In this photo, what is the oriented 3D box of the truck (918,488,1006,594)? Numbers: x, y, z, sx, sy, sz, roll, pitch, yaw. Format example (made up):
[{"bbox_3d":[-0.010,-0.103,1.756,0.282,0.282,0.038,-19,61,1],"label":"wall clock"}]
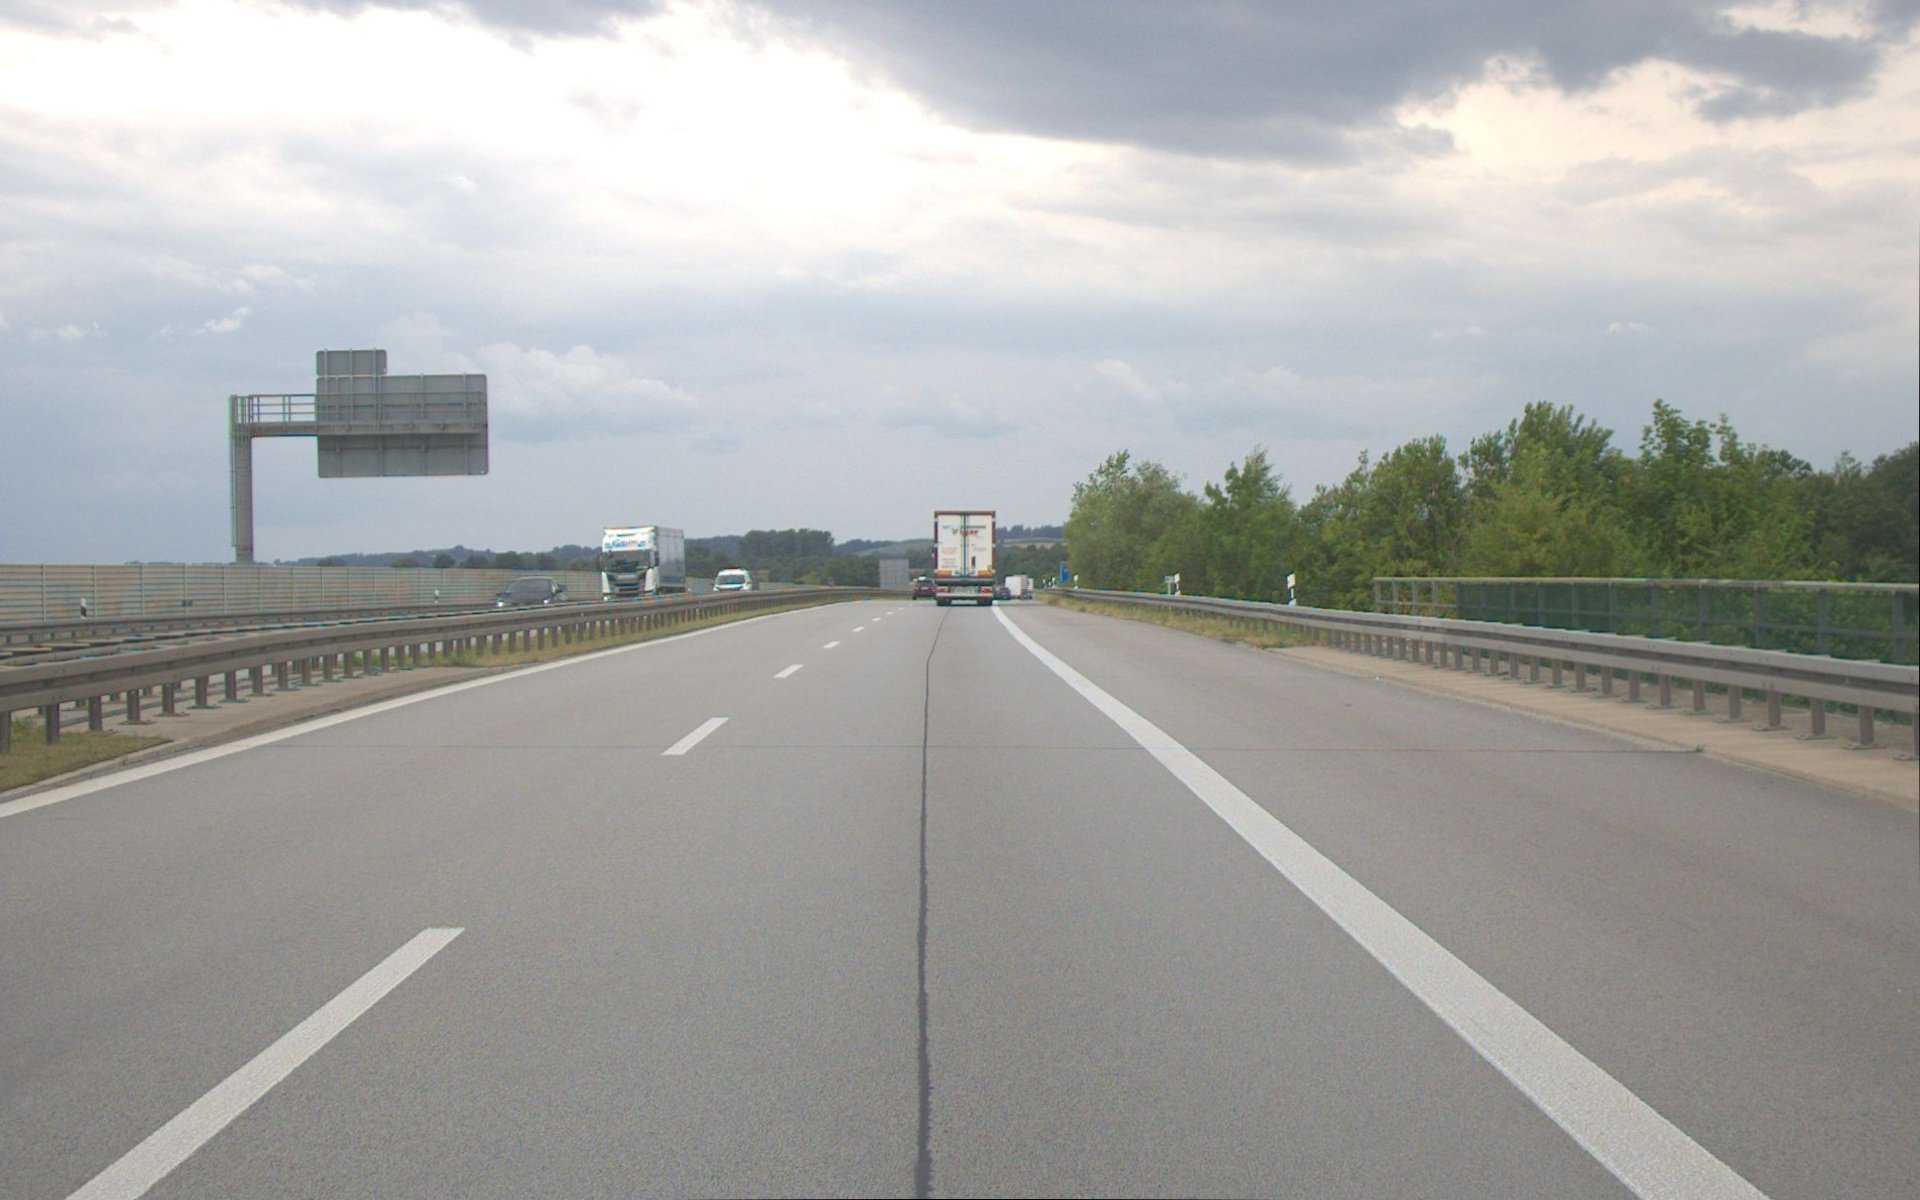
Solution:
[{"bbox_3d":[0.093,-2.506,153.166,3.672,4.397,16.341,-1,0,0],"label":"truck"}]

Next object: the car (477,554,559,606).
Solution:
[{"bbox_3d":[-13.485,-0.627,105.153,1.796,1.369,4.683,-6,1,0],"label":"car"}]

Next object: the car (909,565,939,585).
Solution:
[{"bbox_3d":[-2.651,-1.848,252.862,1.993,1.415,4.001,1,1,-3],"label":"car"}]

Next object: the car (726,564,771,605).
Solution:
[{"bbox_3d":[-10.243,-0.737,166.522,1.814,1.840,4.181,4,0,0],"label":"car"}]

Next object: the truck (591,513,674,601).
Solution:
[{"bbox_3d":[-15.498,-2.026,162.976,3.109,4.000,7.324,-2,0,0],"label":"truck"}]
